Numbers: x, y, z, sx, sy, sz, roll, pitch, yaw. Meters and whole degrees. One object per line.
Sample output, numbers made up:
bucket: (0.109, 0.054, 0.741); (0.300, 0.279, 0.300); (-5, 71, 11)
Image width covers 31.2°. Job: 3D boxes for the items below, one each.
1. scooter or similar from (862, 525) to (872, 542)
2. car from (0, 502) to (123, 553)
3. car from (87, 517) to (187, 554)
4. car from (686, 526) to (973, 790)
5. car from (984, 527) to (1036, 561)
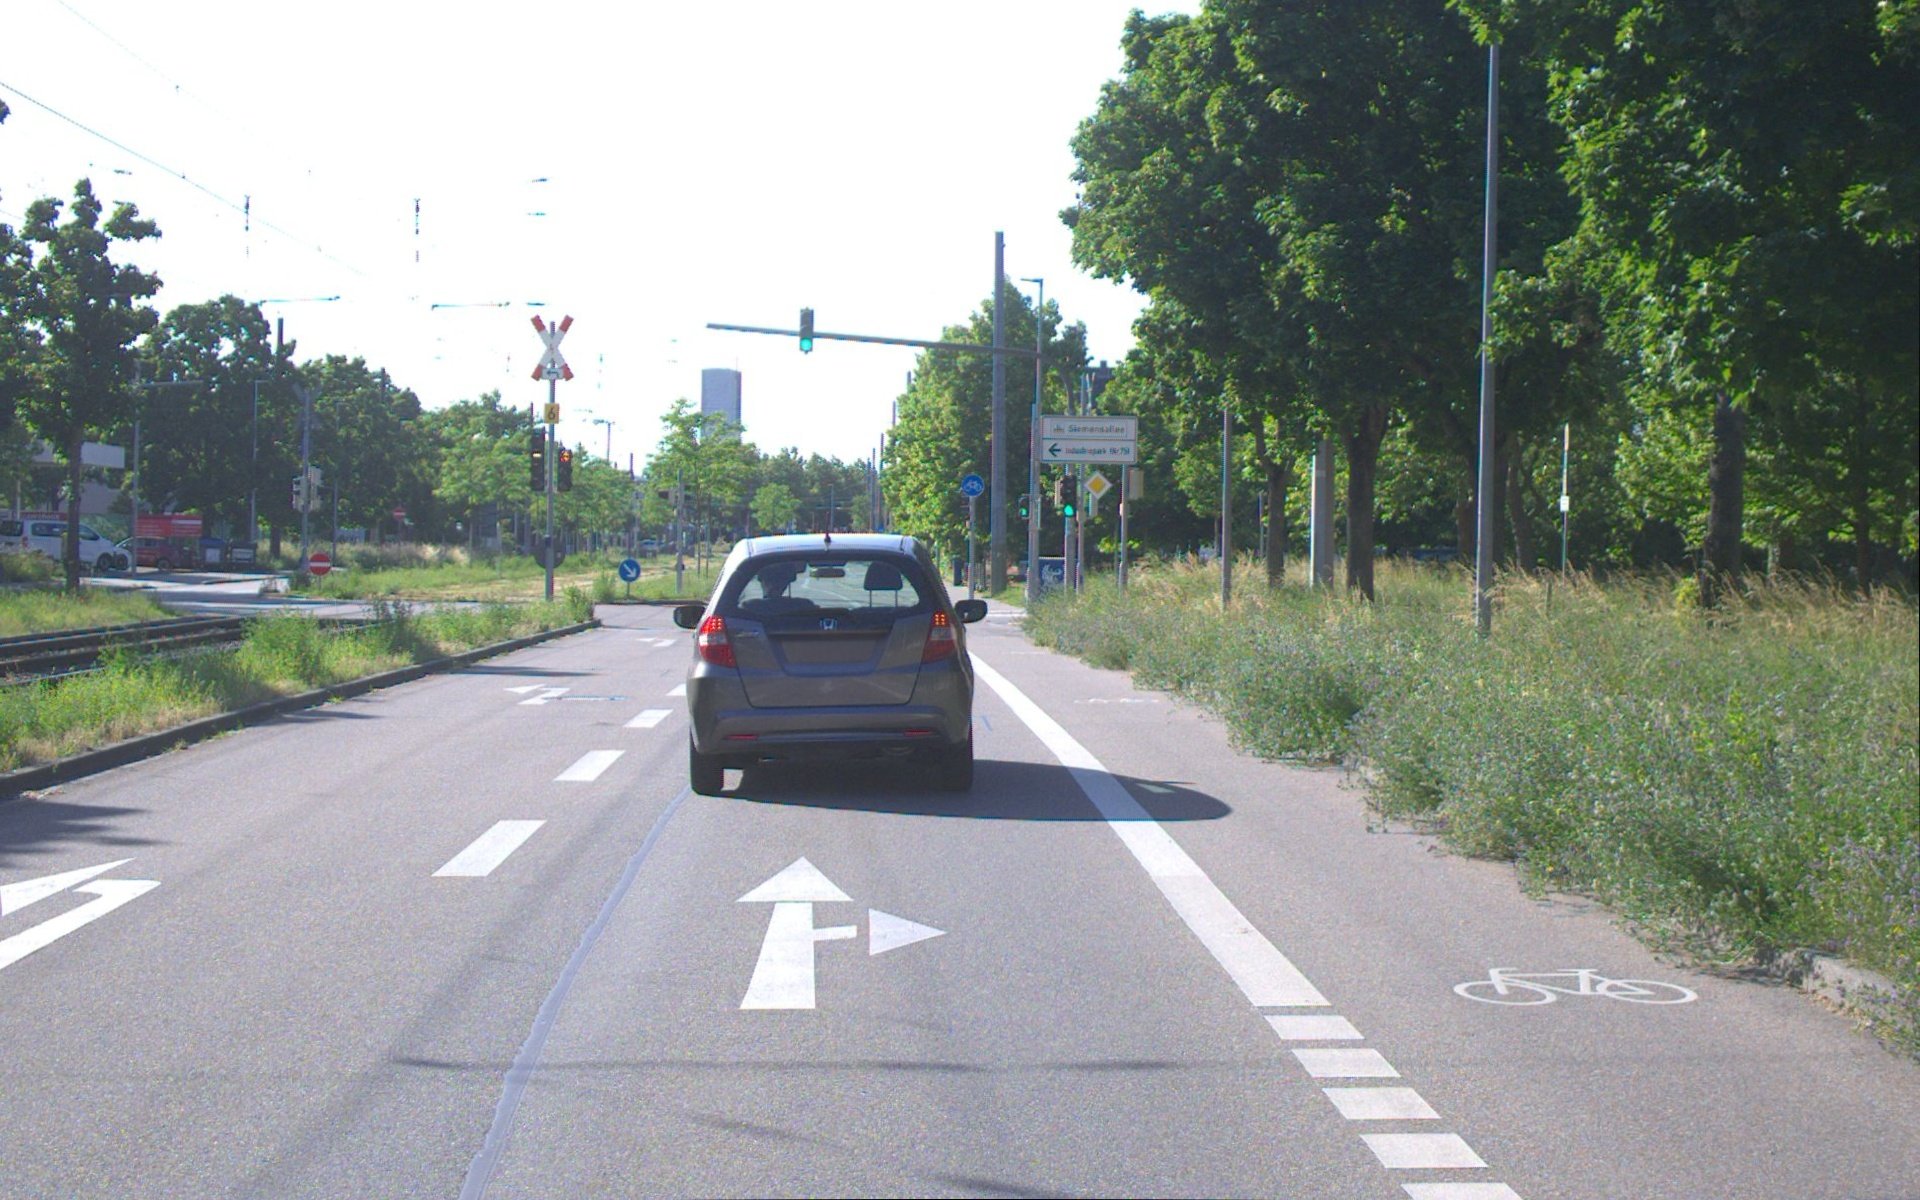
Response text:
scooter or similar: (-5.951, -4.266, 220.311); (0.539, 1.114, 1.417); (1, 1, -5)
car: (-35.414, -2.844, 135.055); (1.859, 1.967, 4.776); (2, 2, 38)
car: (-36.323, -2.847, 151.789); (4.070, 1.563, 1.792); (1, 1, -5)
car: (-0.756, 0.301, 21.237); (1.624, 1.494, 3.457); (0, 1, 0)
car: (2.114, -2.377, 145.633); (1.773, 1.382, 3.871); (0, 1, -6)
